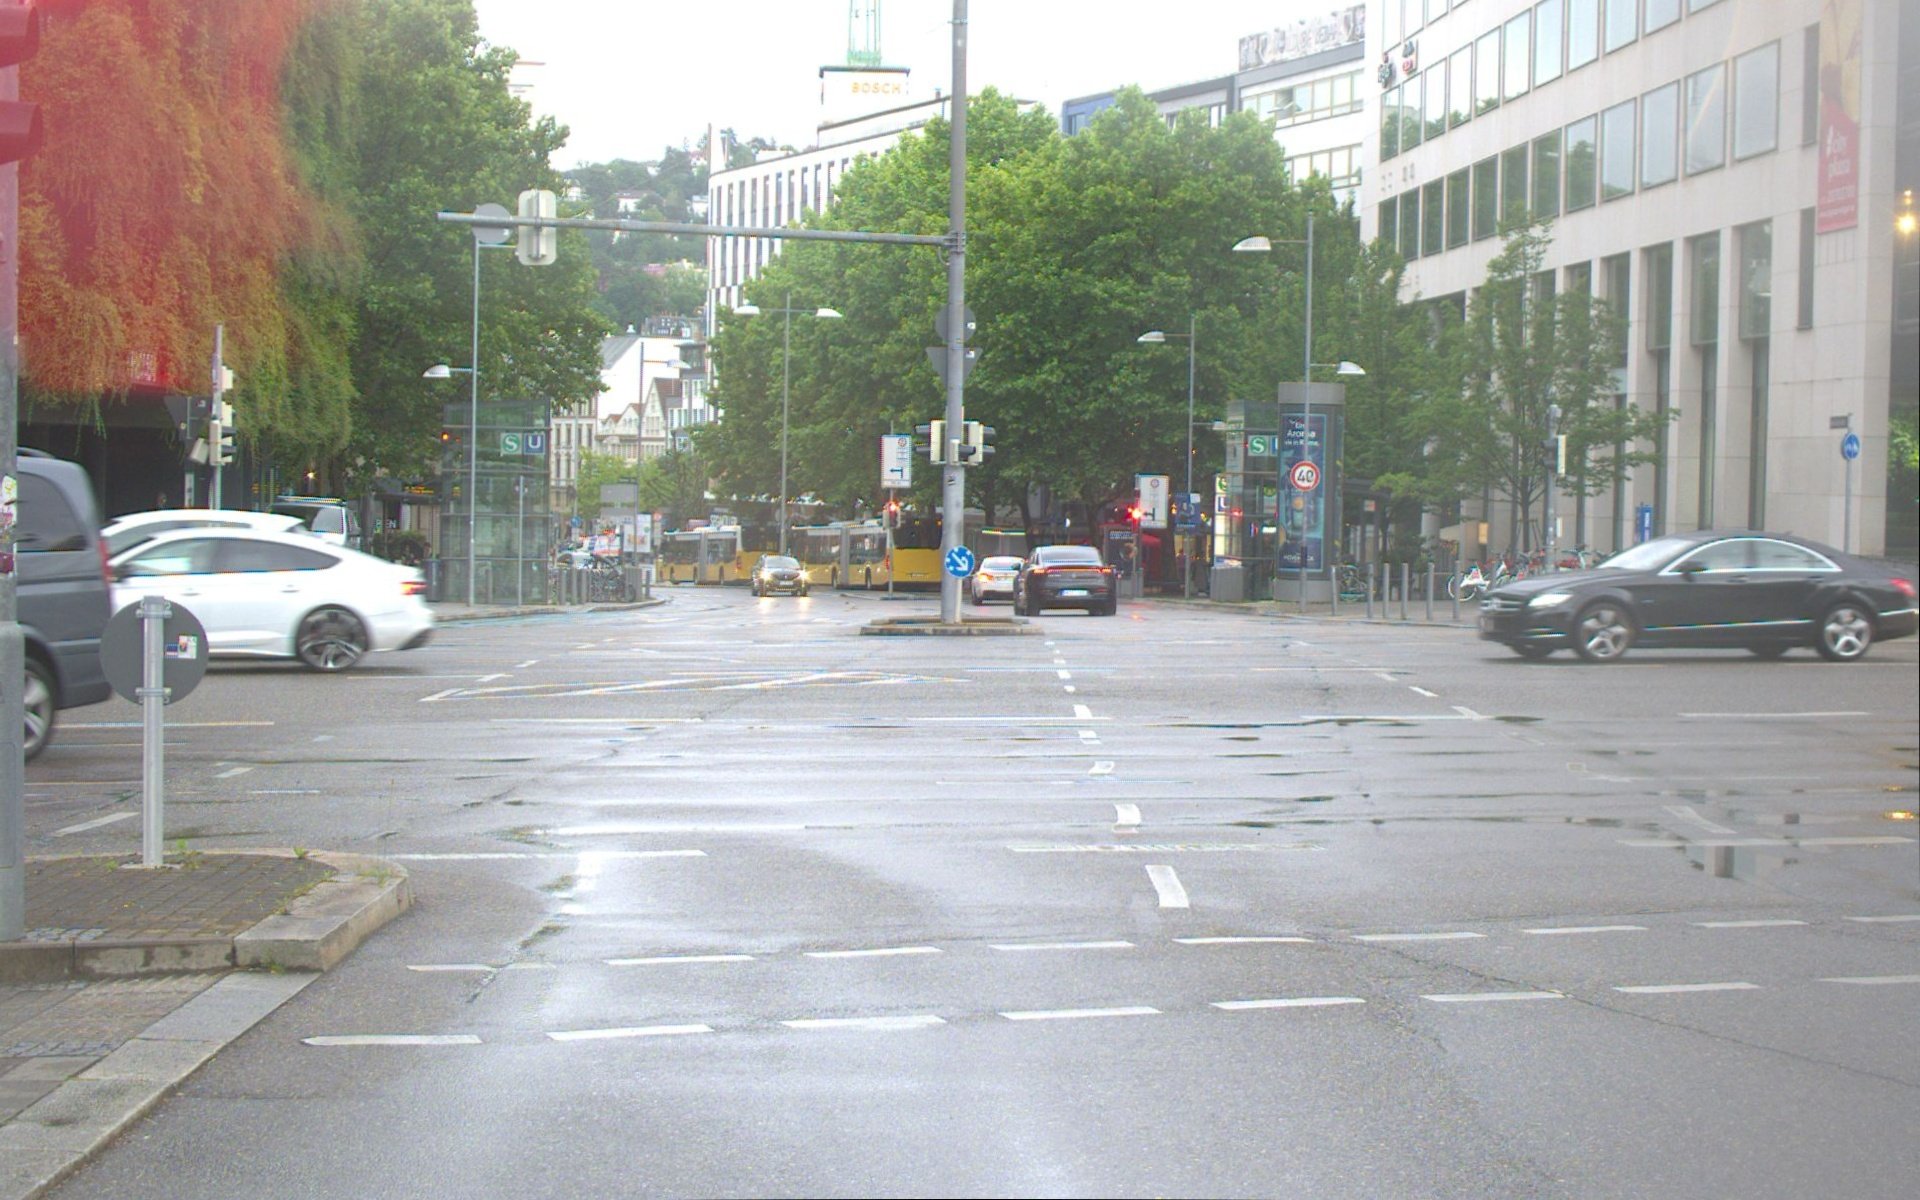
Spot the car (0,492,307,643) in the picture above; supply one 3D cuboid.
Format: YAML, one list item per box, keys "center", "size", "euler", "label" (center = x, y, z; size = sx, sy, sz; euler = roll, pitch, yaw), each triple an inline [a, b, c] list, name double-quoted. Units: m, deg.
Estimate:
- center: [-9.272, -0.349, 35.867]
  size: [4.682, 1.507, 1.811]
  euler: [1, 1, -16]
  label: "car"

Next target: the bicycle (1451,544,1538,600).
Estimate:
- center: [11.557, -0.605, 74.326]
  size: [1.777, 1.190, 0.586]
  euler: [1, 0, 2]
  label: "bicycle"

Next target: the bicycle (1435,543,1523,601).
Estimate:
- center: [10.980, -0.597, 72.774]
  size: [1.777, 1.190, 0.586]
  euler: [1, 0, 2]
  label: "bicycle"

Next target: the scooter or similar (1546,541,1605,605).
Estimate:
- center: [11.485, -0.503, 64.158]
  size: [0.963, 1.190, 0.454]
  euler: [1, 1, 40]
  label: "scooter or similar"

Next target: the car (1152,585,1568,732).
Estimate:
- center: [4.888, 0.714, 42.196]
  size: [4.682, 1.620, 1.811]
  euler: [2, 0, -15]
  label: "car"

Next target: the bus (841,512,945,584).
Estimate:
- center: [-2.898, -2.219, 145.940]
  size: [2.627, 2.985, 7.451]
  euler: [0, 1, -16]
  label: "bus"

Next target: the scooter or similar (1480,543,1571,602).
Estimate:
- center: [11.674, -0.569, 70.982]
  size: [1.777, 1.190, 0.586]
  euler: [1, 0, 2]
  label: "scooter or similar"

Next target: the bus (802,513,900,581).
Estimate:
- center: [-4.912, -2.381, 153.086]
  size: [2.627, 2.985, 7.451]
  euler: [0, 1, -16]
  label: "bus"

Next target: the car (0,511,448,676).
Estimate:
- center: [-7.407, -0.084, 33.122]
  size: [4.682, 1.507, 1.811]
  euler: [-1, 1, -16]
  label: "car"

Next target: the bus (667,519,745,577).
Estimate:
- center: [-13.370, -2.768, 180.329]
  size: [2.627, 2.985, 7.451]
  euler: [0, 1, -16]
  label: "bus"

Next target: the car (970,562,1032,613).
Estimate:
- center: [1.229, -0.392, 104.939]
  size: [1.781, 1.503, 4.000]
  euler: [1, 1, -1]
  label: "car"

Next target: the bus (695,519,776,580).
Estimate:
- center: [-11.355, -2.563, 173.233]
  size: [2.627, 2.985, 7.330]
  euler: [0, 1, -16]
  label: "bus"

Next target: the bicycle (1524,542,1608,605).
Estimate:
- center: [11.696, -0.523, 66.395]
  size: [0.584, 1.190, 1.784]
  euler: [1, 1, -28]
  label: "bicycle"

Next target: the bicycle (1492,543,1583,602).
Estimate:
- center: [12.027, -0.571, 71.605]
  size: [1.777, 1.190, 0.586]
  euler: [1, 0, 2]
  label: "bicycle"

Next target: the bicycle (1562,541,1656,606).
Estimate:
- center: [12.239, -0.499, 64.843]
  size: [1.624, 1.190, 0.586]
  euler: [1, 0, 26]
  label: "bicycle"

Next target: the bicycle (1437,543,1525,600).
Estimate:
- center: [11.128, -0.602, 73.408]
  size: [1.777, 1.190, 0.586]
  euler: [1, 0, 2]
  label: "bicycle"

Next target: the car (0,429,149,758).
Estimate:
- center: [-7.129, -0.016, 19.514]
  size: [1.997, 1.920, 4.956]
  euler: [1, 2, 32]
  label: "car"

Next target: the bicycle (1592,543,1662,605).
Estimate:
- center: [13.000, -0.510, 66.953]
  size: [0.586, 1.190, 1.779]
  euler: [1, 1, 38]
  label: "bicycle"

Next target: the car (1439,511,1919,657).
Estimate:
- center: [7.853, -0.149, 37.306]
  size: [4.845, 1.472, 2.000]
  euler: [1, -1, -14]
  label: "car"

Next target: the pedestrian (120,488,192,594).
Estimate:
- center: [-12.609, -0.926, 53.909]
  size: [0.933, 1.638, 0.774]
  euler: [1, 0, -1]
  label: "pedestrian"

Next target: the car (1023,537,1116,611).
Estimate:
- center: [2.288, -0.548, 72.742]
  size: [1.781, 1.503, 4.000]
  euler: [1, 1, -1]
  label: "car"

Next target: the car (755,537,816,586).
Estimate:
- center: [-6.465, -1.439, 126.782]
  size: [2.164, 1.759, 5.113]
  euler: [0, 1, -4]
  label: "car"
